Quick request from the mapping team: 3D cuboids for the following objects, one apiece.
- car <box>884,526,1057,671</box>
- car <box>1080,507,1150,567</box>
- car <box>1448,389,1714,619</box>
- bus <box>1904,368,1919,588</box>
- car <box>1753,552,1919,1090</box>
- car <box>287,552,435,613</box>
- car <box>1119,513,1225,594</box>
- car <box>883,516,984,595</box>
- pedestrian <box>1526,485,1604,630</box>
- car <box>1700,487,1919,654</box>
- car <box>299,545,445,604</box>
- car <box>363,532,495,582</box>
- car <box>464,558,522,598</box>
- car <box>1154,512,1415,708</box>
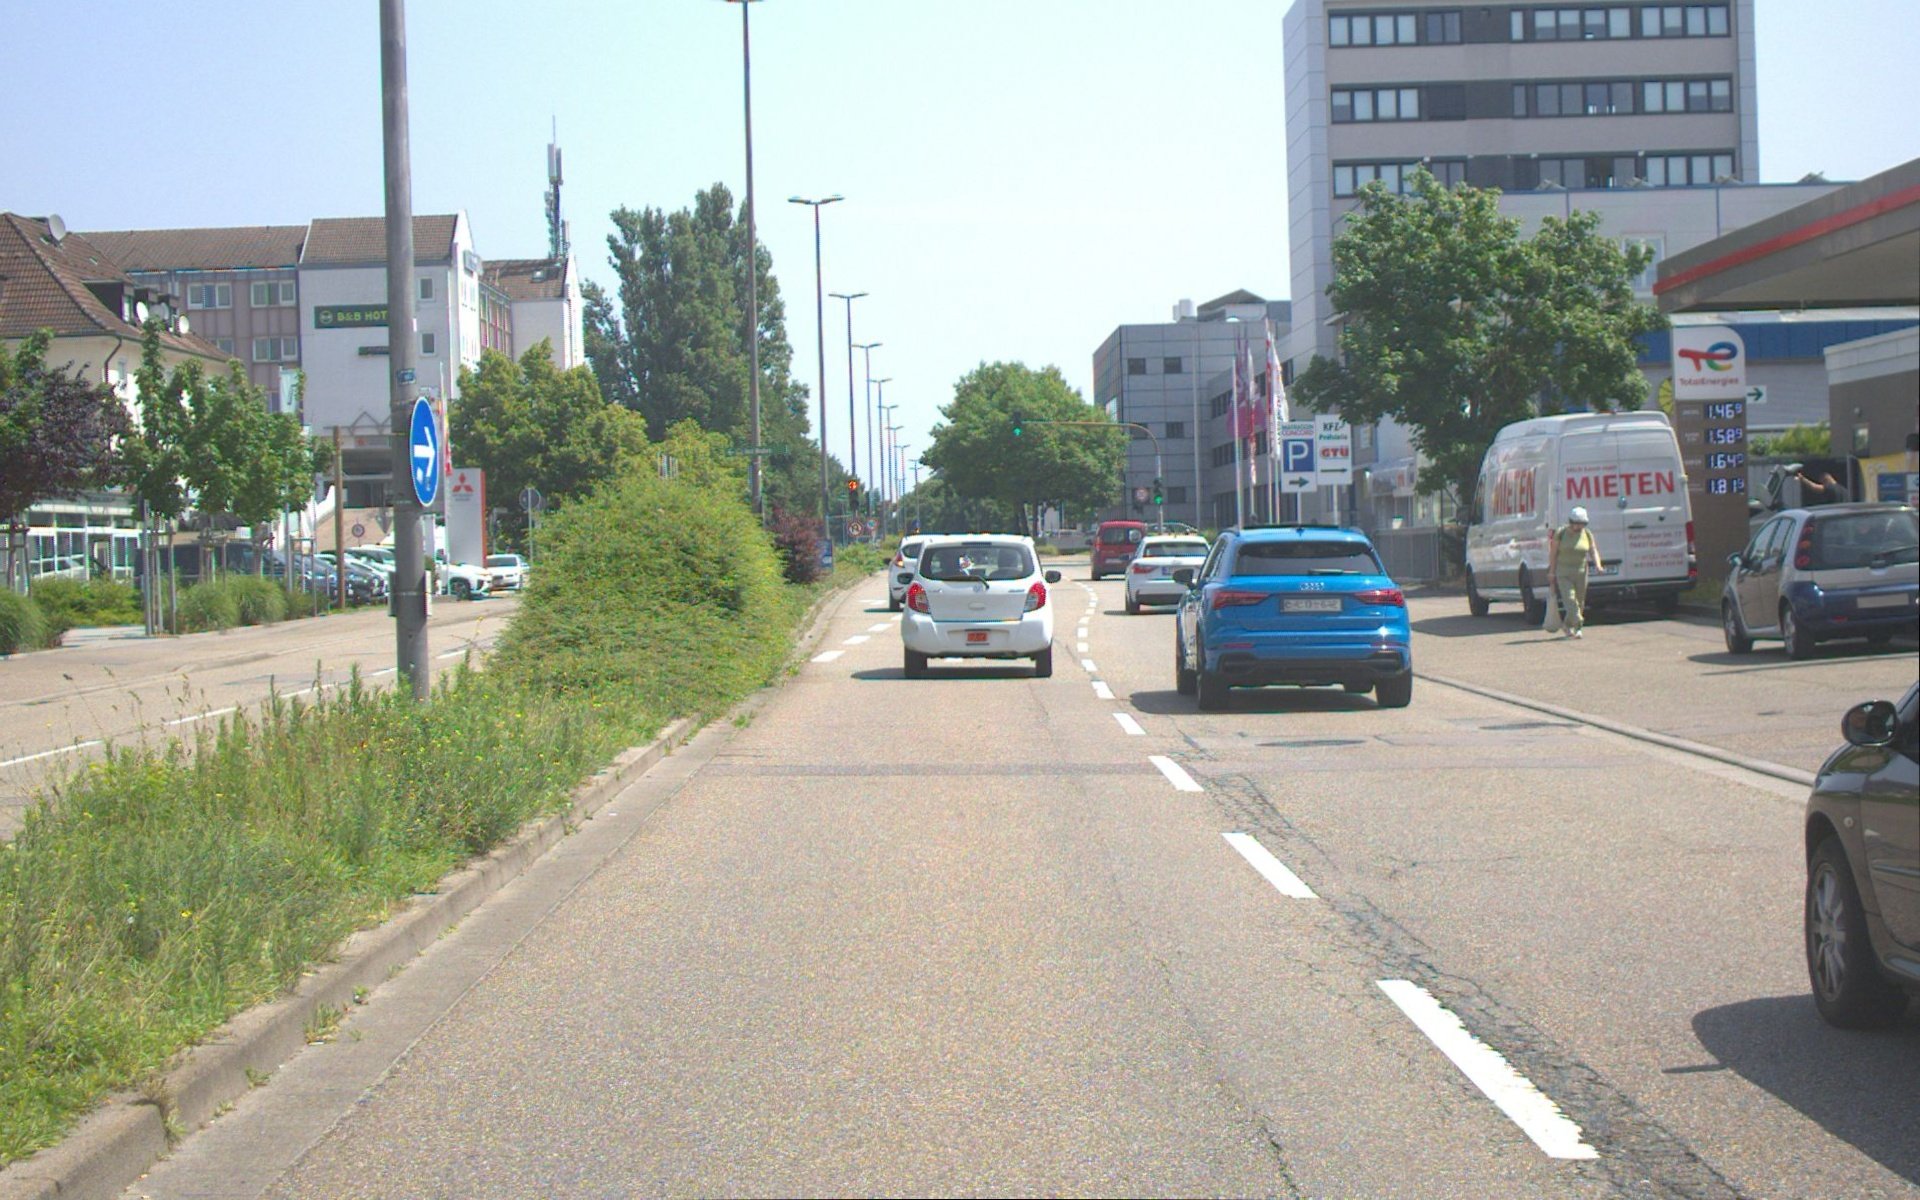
[{"bbox_3d":[0.076,-0.025,37.686,1.712,1.505,3.247,-1,0,-3],"label":"car"},{"bbox_3d":[4.710,-1.921,105.080,1.794,1.723,3.973,0,0,-2],"label":"car"},{"bbox_3d":[8.492,-1.297,47.796,2.133,2.830,7.309,-4,1,-1],"label":"car"},{"bbox_3d":[14.520,-1.553,42.648,2.805,3.068,12.284,-1,2,3],"label":"bus"},{"bbox_3d":[3.339,0.576,9.004,1.600,1.420,3.661,-1,1,-1],"label":"car"},{"bbox_3d":[-17.298,-0.502,99.422,3.986,1.678,2.000,-1,-1,-3],"label":"car"},{"bbox_3d":[3.815,-0.829,62.219,1.667,1.394,3.793,-1,0,0],"label":"car"},{"bbox_3d":[-0.491,-0.839,66.971,1.830,1.445,4.000,-1,0,1],"label":"car"},{"bbox_3d":[7.377,-0.517,41.948,0.815,1.743,0.703,-1,0,-1],"label":"pedestrian"},{"bbox_3d":[8.676,-0.319,34.309,1.657,1.514,3.820,-3,1,-1],"label":"car"},{"bbox_3d":[-17.816,-0.772,104.186,3.986,1.725,1.908,0,-1,-25],"label":"car"},{"bbox_3d":[-17.401,-1.392,112.772,3.987,1.547,1.865,-1,-1,2],"label":"car"},{"bbox_3d":[-16.951,-0.798,124.938,1.901,1.349,4.000,0,-1,-5],"label":"car"},{"bbox_3d":[2.852,0.026,31.083,1.913,1.591,4.396,-1,2,0],"label":"car"}]
